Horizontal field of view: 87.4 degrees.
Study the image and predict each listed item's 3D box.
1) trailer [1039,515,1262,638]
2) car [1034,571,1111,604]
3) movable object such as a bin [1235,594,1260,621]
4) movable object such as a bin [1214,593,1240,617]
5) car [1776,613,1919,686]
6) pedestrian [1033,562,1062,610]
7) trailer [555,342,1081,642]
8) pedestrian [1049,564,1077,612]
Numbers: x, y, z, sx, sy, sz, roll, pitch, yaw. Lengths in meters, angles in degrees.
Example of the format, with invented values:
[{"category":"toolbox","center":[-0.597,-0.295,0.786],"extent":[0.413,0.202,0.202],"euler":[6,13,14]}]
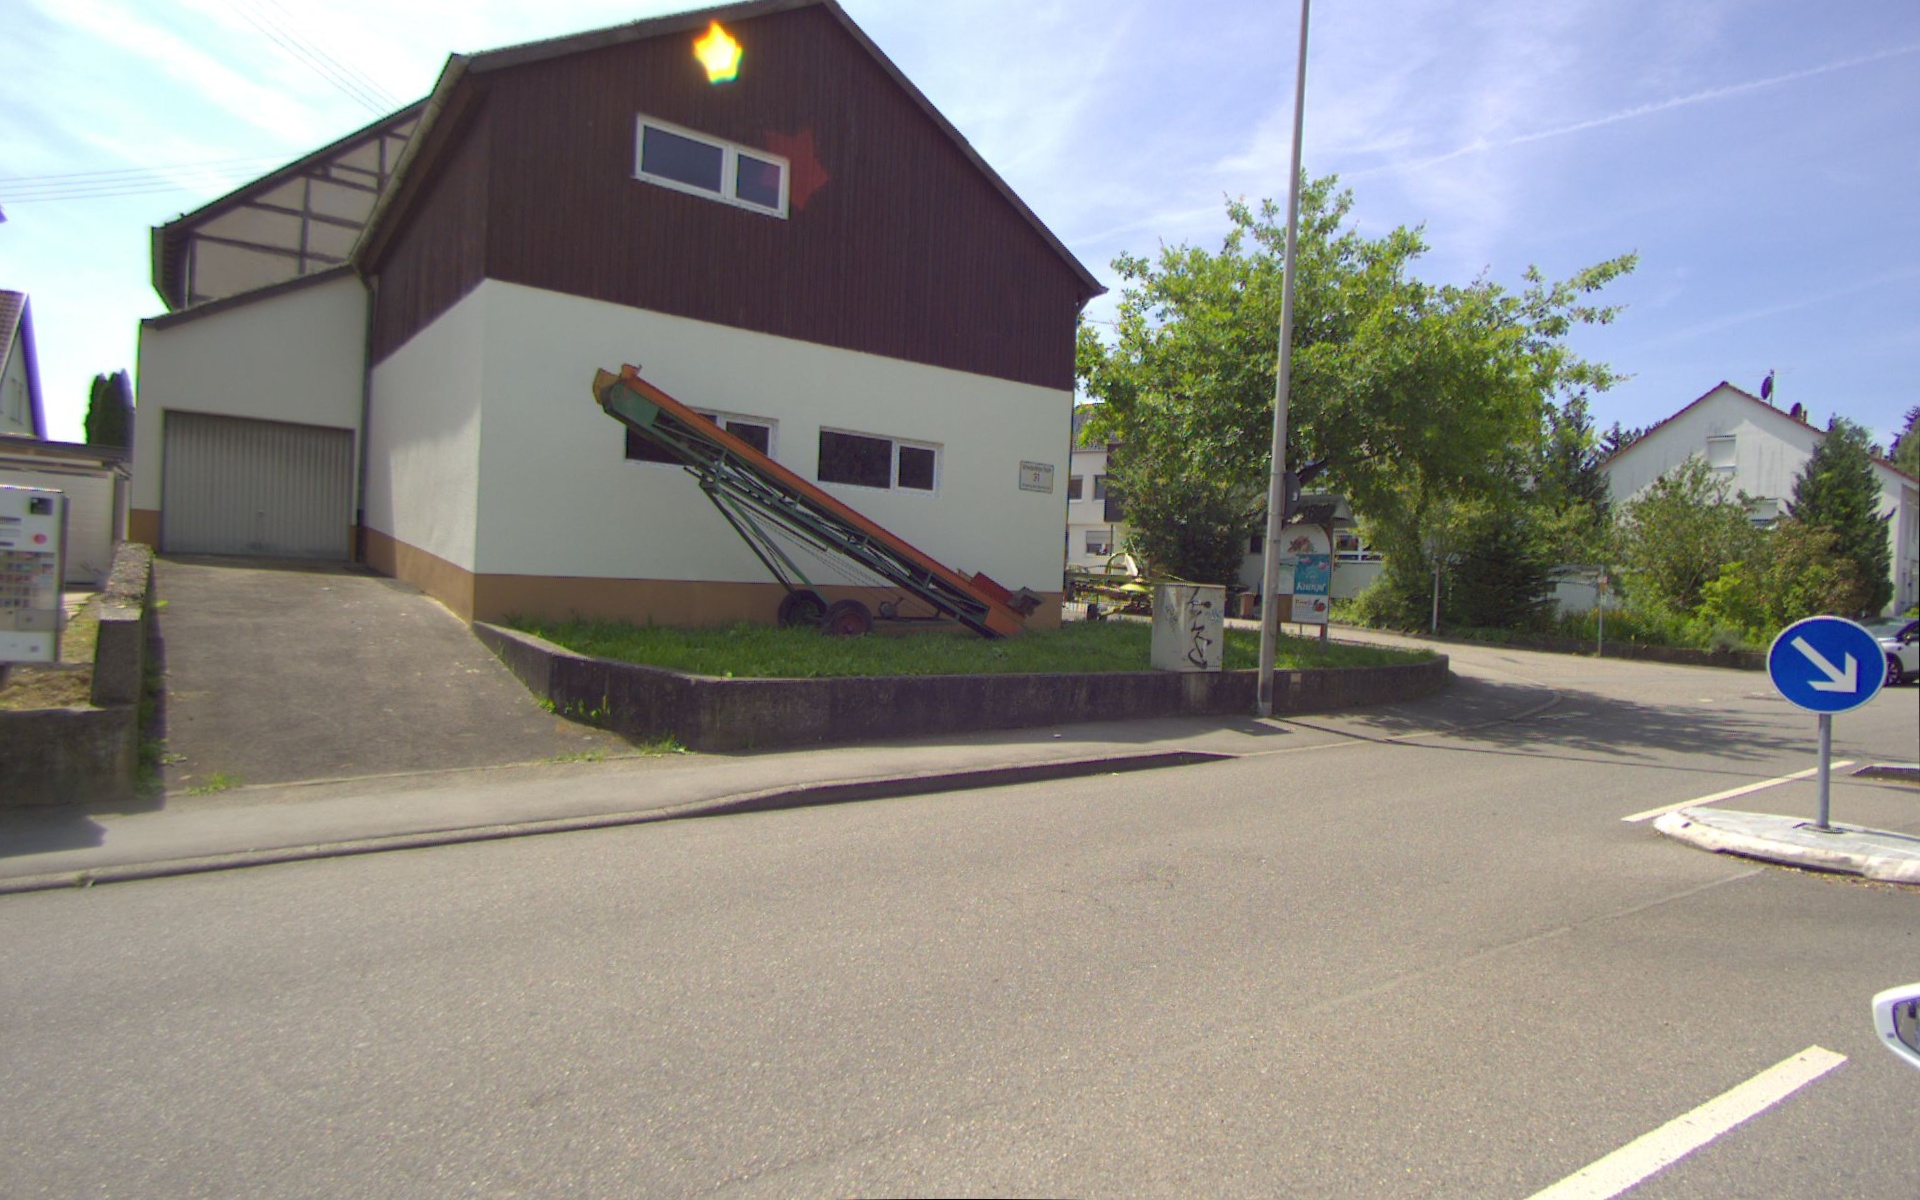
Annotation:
[{"category":"trailer","center":[3.000,-0.427,16.827],"extent":[2.712,1.714,3.704],"euler":[3,3,-5]},{"category":"car","center":[5.402,-0.599,48.081],"extent":[3.767,1.400,1.540],"euler":[1,3,-43]},{"category":"movable object such as a bin","center":[10.046,0.248,35.126],"extent":[0.584,0.902,0.575],"euler":[1,3,-25]},{"category":"movable object such as a bin","center":[9.588,0.192,36.102],"extent":[0.596,0.821,0.636],"euler":[1,2,-26]},{"category":"car","center":[21.559,1.134,23.351],"extent":[4.096,1.550,1.785],"euler":[1,1,-10]},{"category":"pedestrian","center":[3.030,-0.488,34.730],"extent":[0.592,1.595,0.714],"euler":[4,0,-29]},{"category":"trailer","center":[-1.463,-1.022,12.100],"extent":[6.109,2.887,1.702],"euler":[1,1,-34]},{"category":"pedestrian","center":[3.582,-0.429,35.017],"extent":[0.580,1.595,0.721],"euler":[4,0,-28]}]
